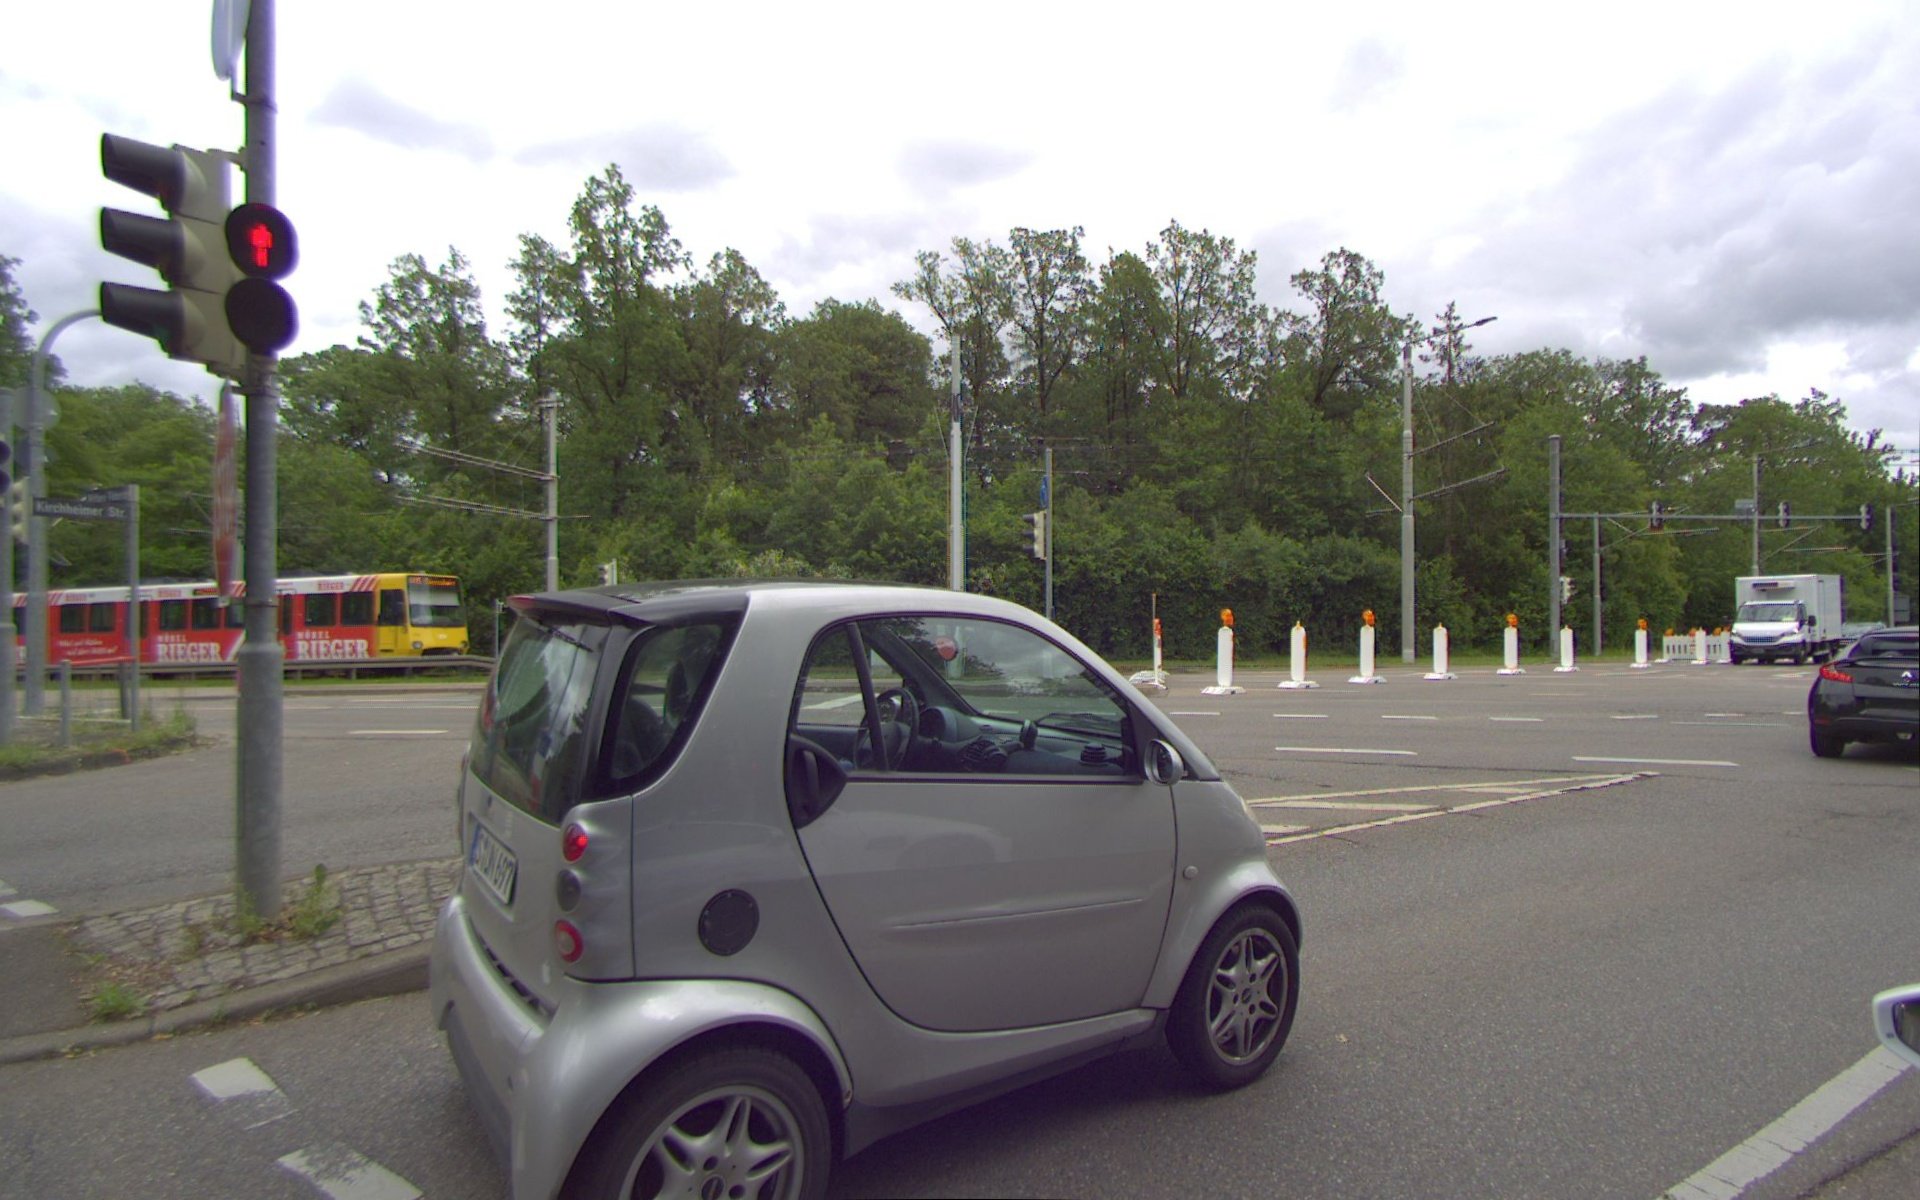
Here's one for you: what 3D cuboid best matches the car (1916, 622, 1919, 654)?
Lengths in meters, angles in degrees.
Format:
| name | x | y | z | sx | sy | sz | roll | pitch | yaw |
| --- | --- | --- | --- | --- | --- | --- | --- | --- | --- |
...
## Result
| name | x | y | z | sx | sy | sz | roll | pitch | yaw |
| --- | --- | --- | --- | --- | --- | --- | --- | --- | --- |
| car | 57.437 | 2.197 | 58.463 | 4.647 | 1.869 | 1.947 | 1 | -2 | -38 |

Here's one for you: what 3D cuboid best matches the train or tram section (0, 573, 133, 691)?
| name | x | y | z | sx | sy | sz | roll | pitch | yaw |
| --- | --- | --- | --- | --- | --- | --- | --- | --- | --- |
| train or tram section | -42.935 | 1.169 | 42.772 | 18.361 | 4.476 | 2.966 | 1 | -2 | 20 |

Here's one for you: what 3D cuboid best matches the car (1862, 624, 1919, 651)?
| name | x | y | z | sx | sy | sz | roll | pitch | yaw |
| --- | --- | --- | --- | --- | --- | --- | --- | --- | --- |
| car | 49.243 | 1.942 | 52.776 | 4.648 | 1.379 | 1.947 | 1 | -2 | -38 |

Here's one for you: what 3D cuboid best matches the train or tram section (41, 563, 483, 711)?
| name | x | y | z | sx | sy | sz | roll | pitch | yaw |
| --- | --- | --- | --- | --- | --- | --- | --- | --- | --- |
| train or tram section | -25.752 | 1.131 | 36.549 | 18.178 | 4.711 | 2.957 | 1 | -2 | 19 |

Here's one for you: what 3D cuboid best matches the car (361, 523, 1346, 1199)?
| name | x | y | z | sx | sy | sz | roll | pitch | yaw |
| --- | --- | --- | --- | --- | --- | --- | --- | --- | --- |
| car | -0.216 | 0.728 | 3.137 | 2.702 | 1.607 | 1.447 | 2 | -3 | -37 |

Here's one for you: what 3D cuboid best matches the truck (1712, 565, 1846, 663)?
| name | x | y | z | sx | sy | sz | roll | pitch | yaw |
| --- | --- | --- | --- | --- | --- | --- | --- | --- | --- |
| truck | 30.085 | 0.605 | 36.792 | 7.097 | 3.266 | 2.429 | 2 | -3 | -40 |

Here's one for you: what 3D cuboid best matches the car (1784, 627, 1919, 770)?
| name | x | y | z | sx | sy | sz | roll | pitch | yaw |
| --- | --- | --- | --- | --- | --- | --- | --- | --- | --- |
| car | 10.505 | 0.994 | 10.856 | 3.446 | 1.379 | 1.760 | 2 | -3 | -38 |

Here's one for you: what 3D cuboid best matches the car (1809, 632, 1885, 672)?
| name | x | y | z | sx | sy | sz | roll | pitch | yaw |
| --- | --- | --- | --- | --- | --- | --- | --- | --- | --- |
| car | 41.404 | 2.369 | 46.851 | 4.806 | 1.773 | 1.946 | 1 | -2 | -40 |
